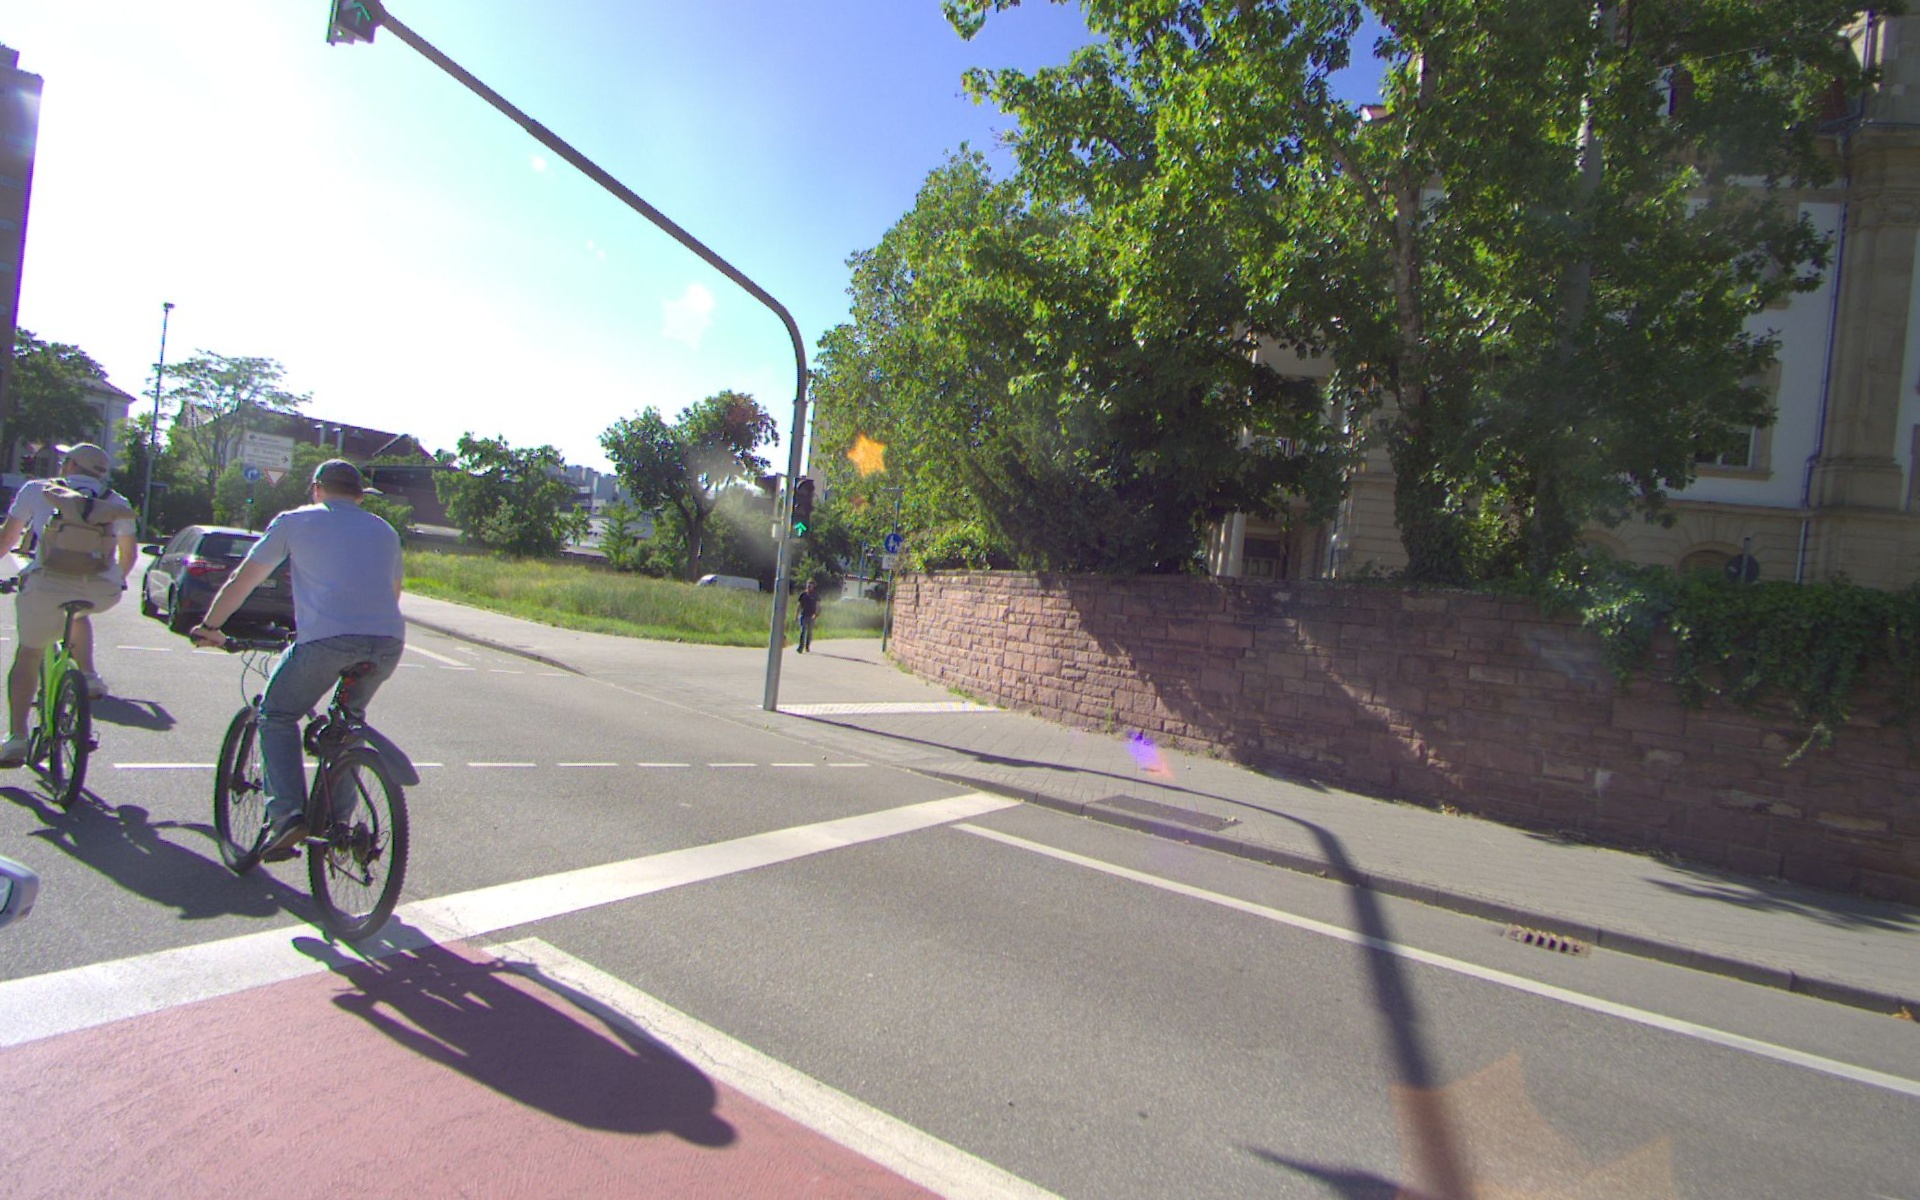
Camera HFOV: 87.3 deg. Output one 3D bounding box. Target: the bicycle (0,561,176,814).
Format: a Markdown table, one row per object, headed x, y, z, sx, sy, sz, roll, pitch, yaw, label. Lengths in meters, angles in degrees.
| x | y | z | sx | sy | sz | roll | pitch | yaw | label |
| --- | --- | --- | --- | --- | --- | --- | --- | --- | --- |
| -5.007 | 0.408 | 5.520 | 1.863 | 1.060 | 0.662 | 8 | 0 | 40 | bicycle |

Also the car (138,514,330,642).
| x | y | z | sx | sy | sz | roll | pitch | yaw | label |
| --- | --- | --- | --- | --- | --- | --- | --- | --- | --- |
| -11.084 | -0.360 | 15.271 | 1.752 | 1.559 | 3.614 | 8 | -3 | -44 | car |

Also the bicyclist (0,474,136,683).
| x | y | z | sx | sy | sz | roll | pitch | yaw | label |
| --- | --- | --- | --- | --- | --- | --- | --- | --- | --- |
| -7.779 | -0.187 | 8.636 | 1.039 | 1.645 | 0.722 | 6 | -1 | 37 | bicyclist |

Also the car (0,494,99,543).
| x | y | z | sx | sy | sz | roll | pitch | yaw | label |
| --- | --- | --- | --- | --- | --- | --- | --- | --- | --- |
| -51.713 | -4.592 | 56.848 | 4.347 | 2.037 | 1.982 | 7 | -2 | -36 | car |

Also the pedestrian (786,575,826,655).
| x | y | z | sx | sy | sz | roll | pitch | yaw | label |
| --- | --- | --- | --- | --- | --- | --- | --- | --- | --- |
| -3.802 | 0.361 | 24.873 | 0.747 | 1.855 | 1.048 | 5 | 1 | -5 | pedestrian |

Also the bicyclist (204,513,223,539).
| x | y | z | sx | sy | sz | roll | pitch | yaw | label |
| --- | --- | --- | --- | --- | --- | --- | --- | --- | --- |
| -52.272 | -5.156 | 70.440 | 0.855 | 1.712 | 0.874 | 7 | -2 | -42 | bicyclist |

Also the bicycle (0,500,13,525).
| x | y | z | sx | sy | sz | roll | pitch | yaw | label |
| --- | --- | --- | --- | --- | --- | --- | --- | --- | --- |
| -66.419 | -6.069 | 69.648 | 0.877 | 1.559 | 2.783 | 7 | -2 | -38 | bicycle |

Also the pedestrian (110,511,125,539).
| x | y | z | sx | sy | sz | roll | pitch | yaw | label |
| --- | --- | --- | --- | --- | --- | --- | --- | --- | --- |
| -54.665 | -4.871 | 65.262 | 0.552 | 1.689 | 0.473 | 6 | -1 | -30 | pedestrian |

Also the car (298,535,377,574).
| x | y | z | sx | sy | sz | roll | pitch | yaw | label |
| --- | --- | --- | --- | --- | --- | --- | --- | --- | --- |
| -42.254 | -3.043 | 68.313 | 4.323 | 2.037 | 1.982 | 7 | -2 | -36 | car |

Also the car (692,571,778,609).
| x | y | z | sx | sy | sz | roll | pitch | yaw | label |
| --- | --- | --- | --- | --- | --- | --- | --- | --- | --- |
| -19.624 | -0.827 | 88.074 | 7.130 | 2.453 | 2.049 | 7 | 0 | -43 | car |

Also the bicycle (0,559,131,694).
| x | y | z | sx | sy | sz | roll | pitch | yaw | label |
| --- | --- | --- | --- | --- | --- | --- | --- | --- | --- |
| -7.963 | 0.197 | 8.732 | 1.855 | 0.971 | 0.722 | 6 | -1 | 38 | bicycle |

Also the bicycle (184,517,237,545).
| x | y | z | sx | sy | sz | roll | pitch | yaw | label |
| --- | --- | --- | --- | --- | --- | --- | --- | --- | --- |
| -52.420 | -4.820 | 70.361 | 2.792 | 1.559 | 0.874 | 8 | -2 | -42 | bicycle |

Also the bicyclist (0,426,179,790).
| x | y | z | sx | sy | sz | roll | pitch | yaw | label |
| --- | --- | --- | --- | --- | --- | --- | --- | --- | --- |
| -4.835 | 0.025 | 5.406 | 0.991 | 1.769 | 0.663 | 8 | 1 | 40 | bicyclist |

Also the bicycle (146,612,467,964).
| x | y | z | sx | sy | sz | roll | pitch | yaw | label |
| --- | --- | --- | --- | --- | --- | --- | --- | --- | --- |
| -2.867 | 0.689 | 4.324 | 1.805 | 1.090 | 0.610 | 6 | -1 | 42 | bicycle |

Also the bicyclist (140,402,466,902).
| x | y | z | sx | sy | sz | roll | pitch | yaw | label |
| --- | --- | --- | --- | --- | --- | --- | --- | --- | --- |
| -2.758 | 0.188 | 4.209 | 1.000 | 1.797 | 0.748 | 6 | -1 | 41 | bicyclist |

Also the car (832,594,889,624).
| x | y | z | sx | sy | sz | roll | pitch | yaw | label |
| --- | --- | --- | --- | --- | --- | --- | --- | --- | --- |
| -9.638 | 0.903 | 97.868 | 5.068 | 2.252 | 2.051 | 7 | -1 | -40 | car |

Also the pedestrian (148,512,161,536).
| x | y | z | sx | sy | sz | roll | pitch | yaw | label |
| --- | --- | --- | --- | --- | --- | --- | --- | --- | --- |
| -59.834 | -5.651 | 74.734 | 0.573 | 1.689 | 0.557 | 6 | -1 | -35 | pedestrian |

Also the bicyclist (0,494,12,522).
| x | y | z | sx | sy | sz | roll | pitch | yaw | label |
| --- | --- | --- | --- | --- | --- | --- | --- | --- | --- |
| -66.380 | -6.376 | 69.653 | 0.877 | 1.818 | 1.149 | 7 | -2 | -38 | bicyclist |
